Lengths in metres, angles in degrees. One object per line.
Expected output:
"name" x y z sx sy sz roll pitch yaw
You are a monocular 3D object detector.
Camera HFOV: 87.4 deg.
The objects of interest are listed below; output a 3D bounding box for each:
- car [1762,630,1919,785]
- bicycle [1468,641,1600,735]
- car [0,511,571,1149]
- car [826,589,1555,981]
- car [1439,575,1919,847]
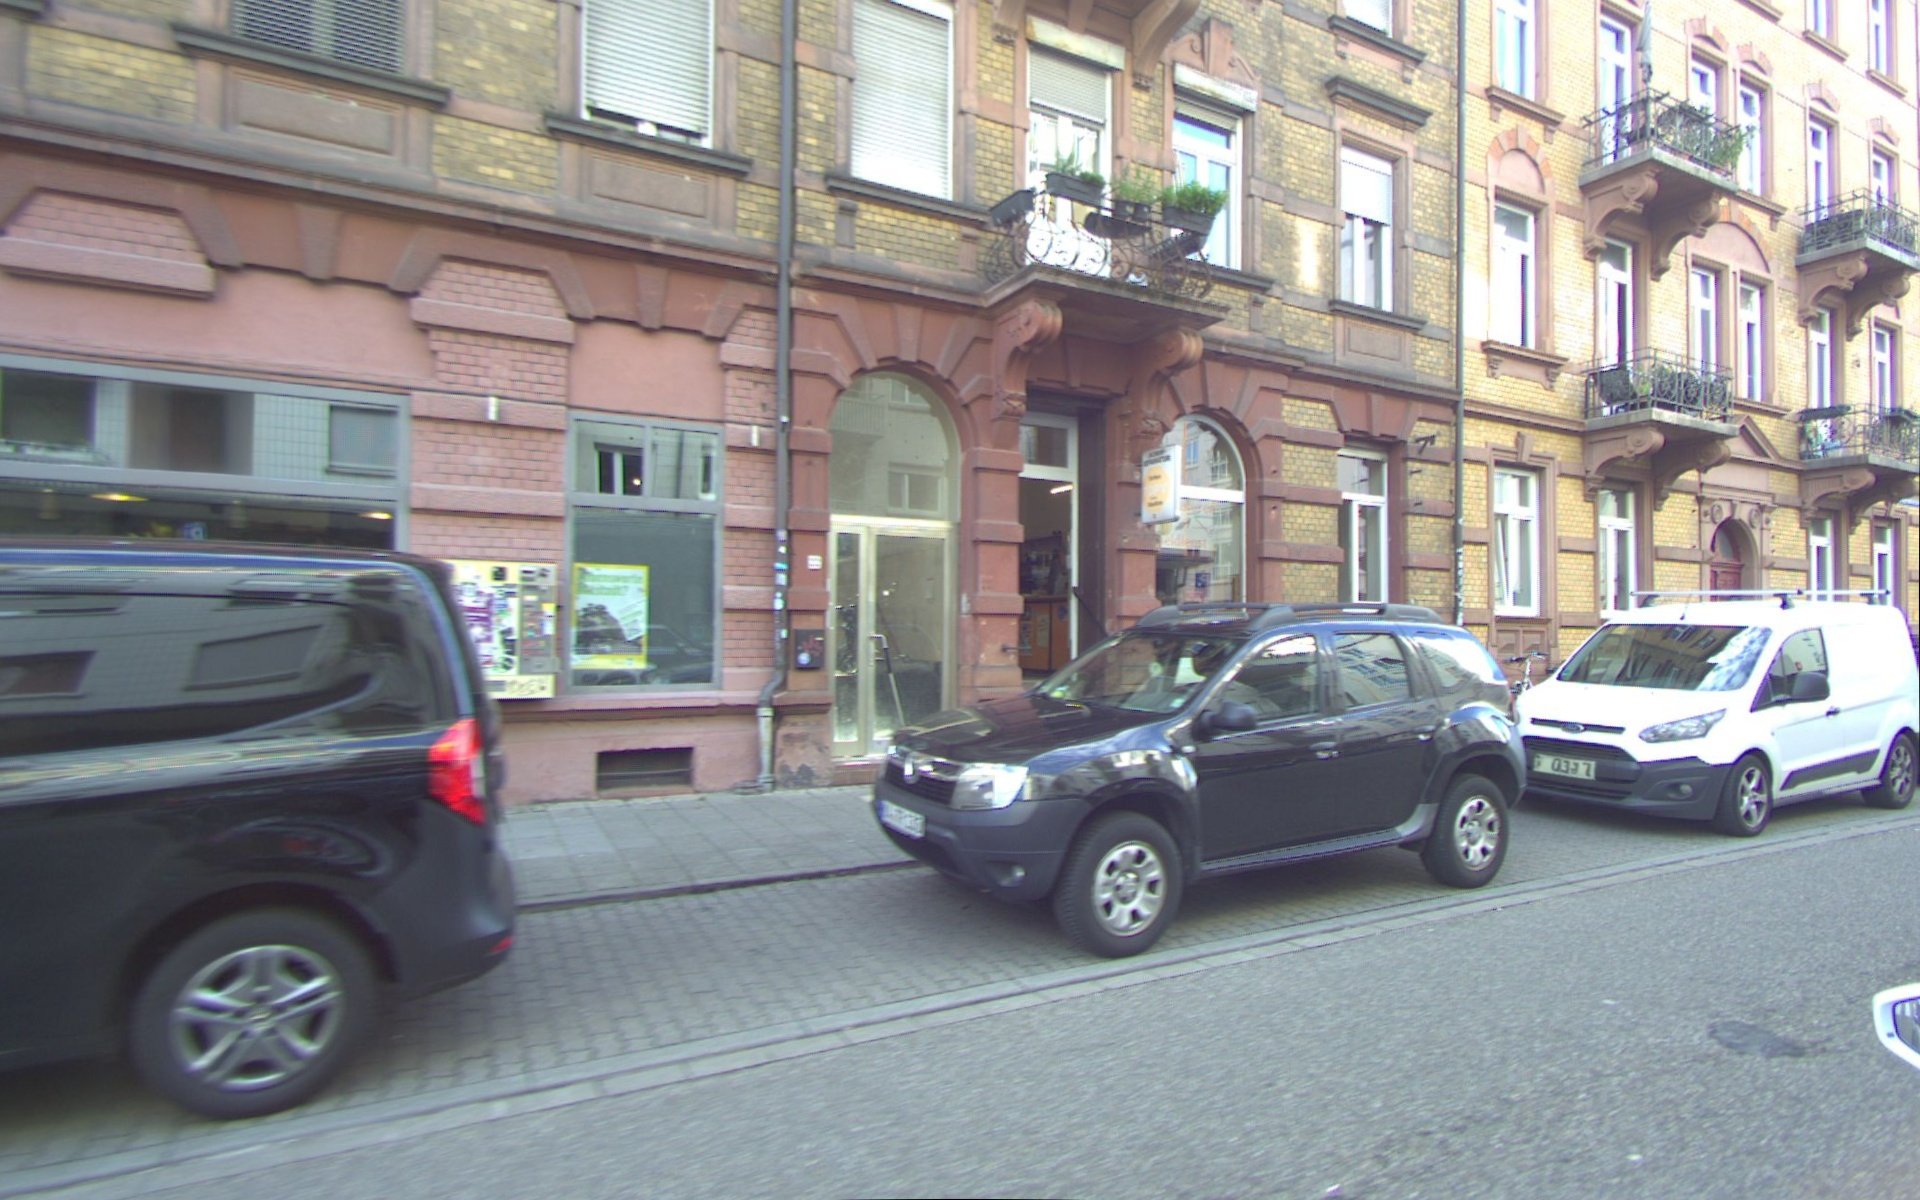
"car" 11.040 1.144 11.283 3.933 1.503 1.735 2 -1 -28
"bicycle" 7.783 1.161 13.595 1.976 1.166 0.566 1 0 -28
"car" -3.704 0.633 3.261 4.352 1.797 1.752 1 0 -29
"car" 1.462 0.822 6.135 4.095 1.660 1.985 1 -1 -29
"car" 6.512 0.821 8.926 4.382 1.896 1.911 1 -1 -29
